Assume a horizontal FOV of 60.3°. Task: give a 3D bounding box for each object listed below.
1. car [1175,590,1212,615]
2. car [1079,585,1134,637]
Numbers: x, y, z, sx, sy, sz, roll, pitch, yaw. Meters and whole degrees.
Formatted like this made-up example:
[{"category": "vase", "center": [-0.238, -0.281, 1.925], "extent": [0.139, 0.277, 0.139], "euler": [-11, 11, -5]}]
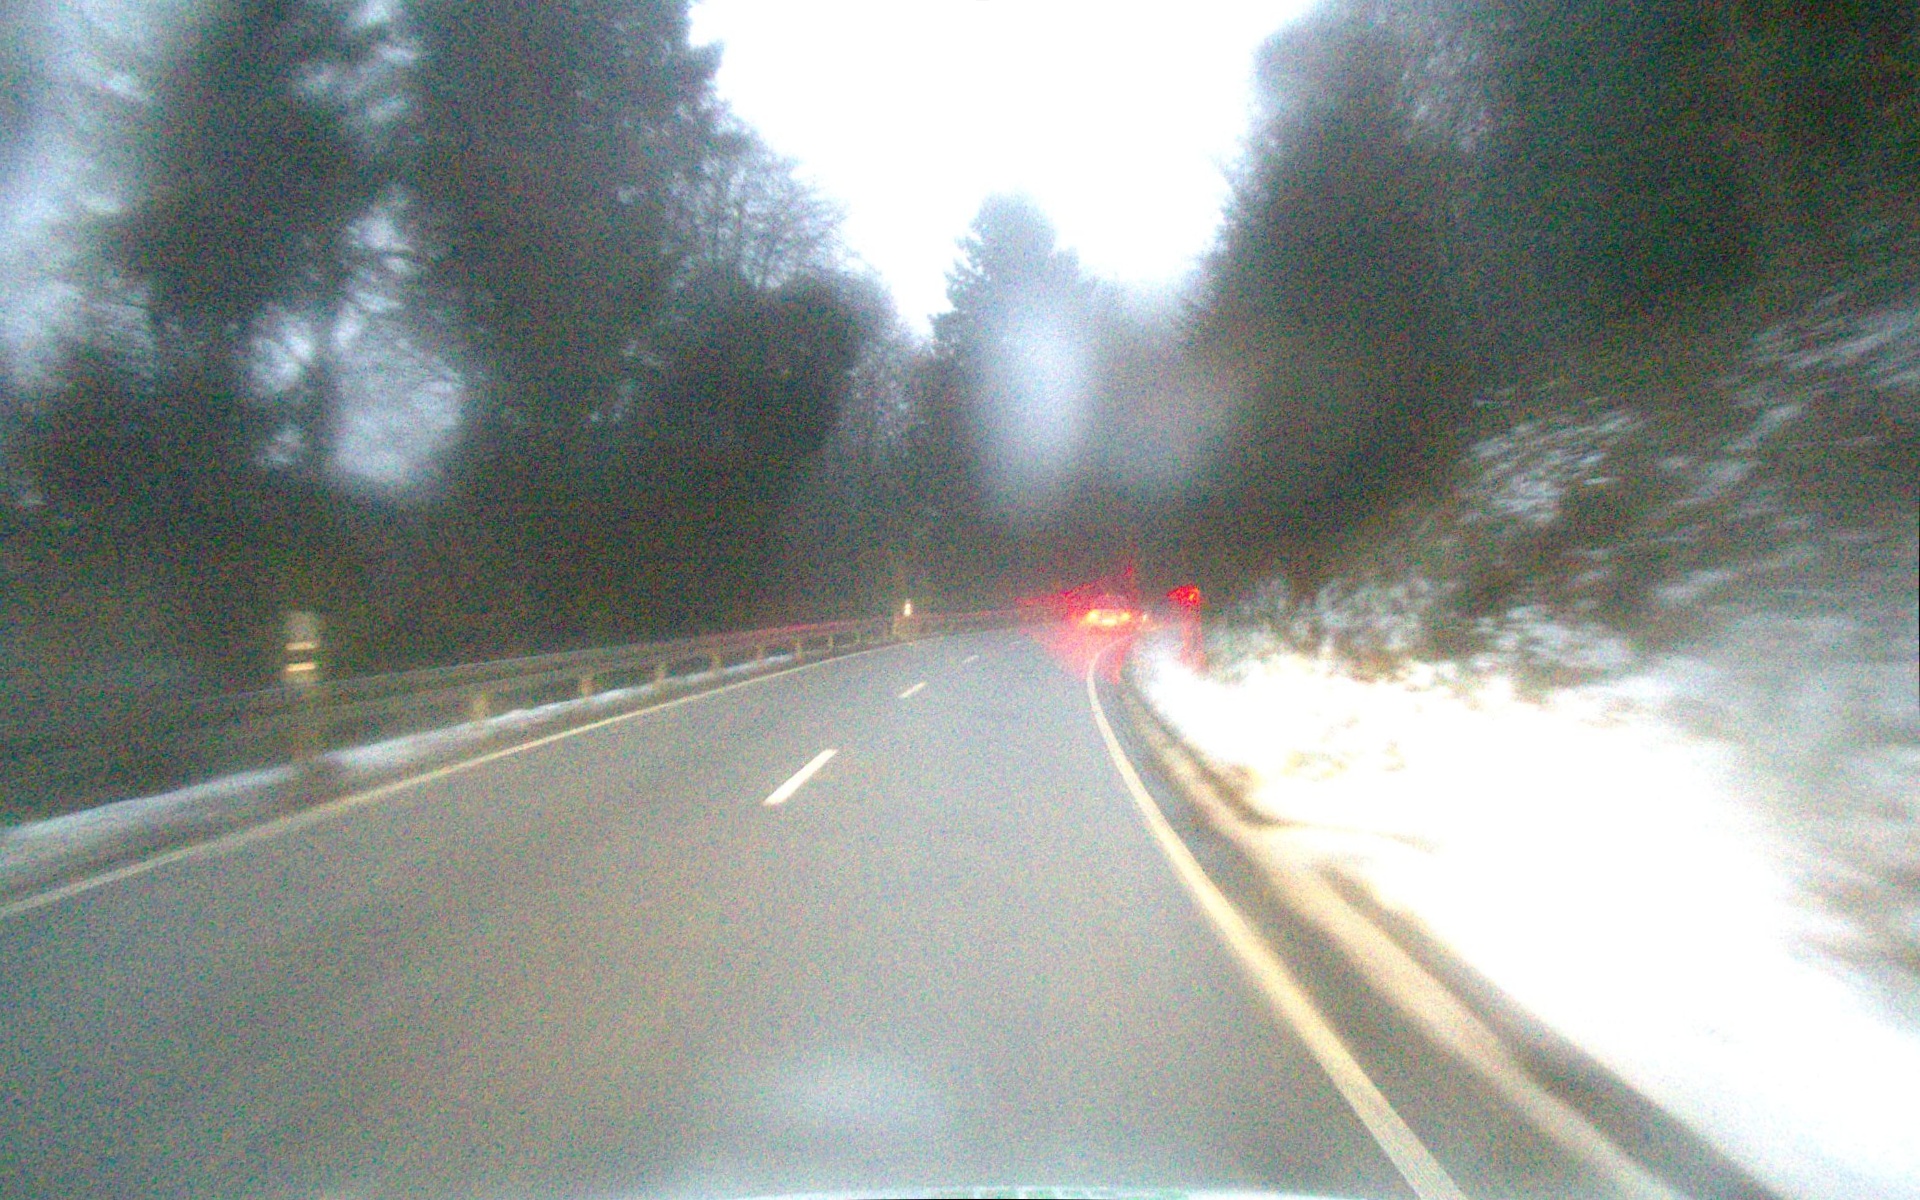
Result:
[{"category": "car", "center": [13.716, 0.138, 97.286], "extent": [1.951, 1.333, 4.003], "euler": [-2, 0, 6]}, {"category": "car", "center": [5.659, 0.393, 64.215], "extent": [1.952, 1.905, 4.002], "euler": [-2, 0, 3]}]
